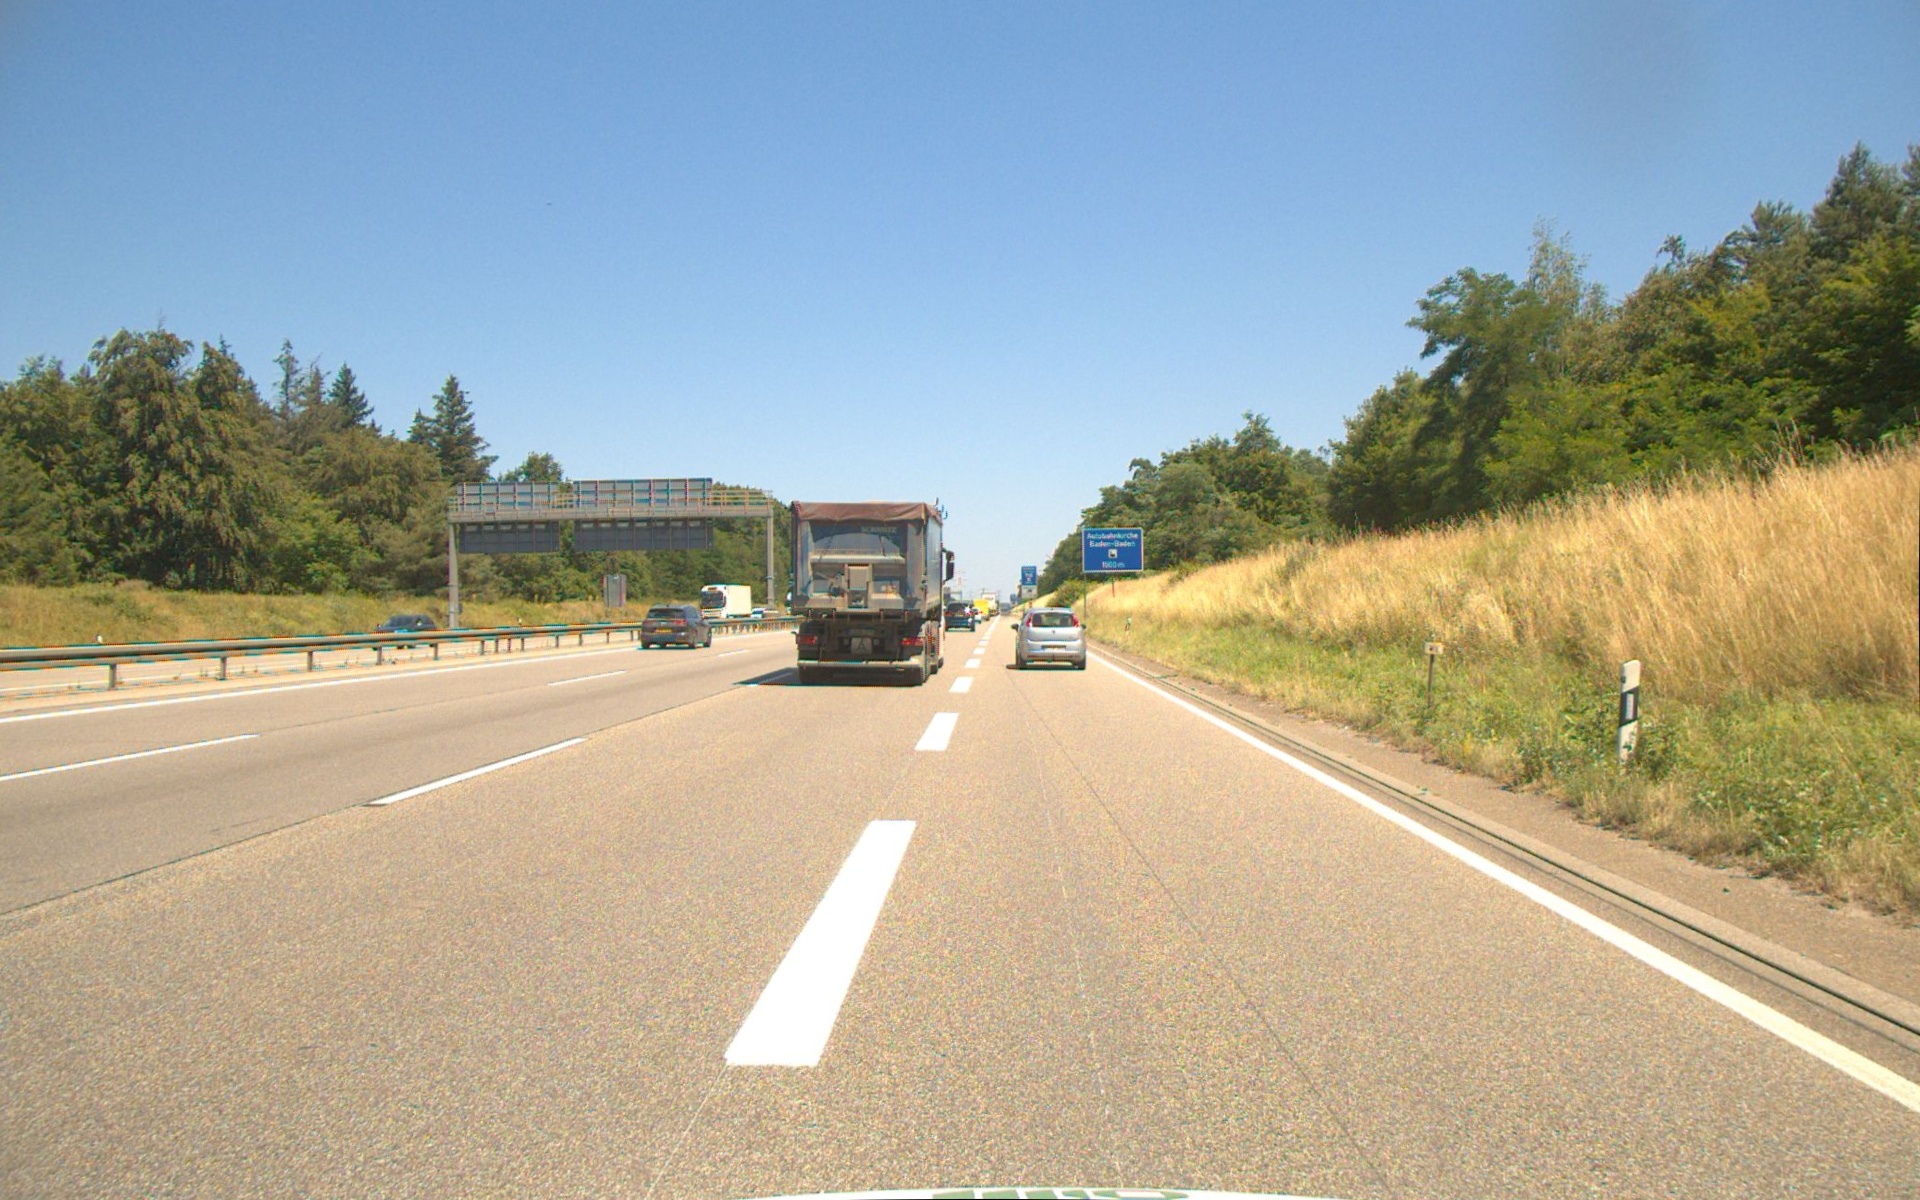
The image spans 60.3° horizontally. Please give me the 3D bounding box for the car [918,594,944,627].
[{"bbox_3d":[-2.674,0.989,155.528,2.213,3.002,6.113,1,0,0],"label":"car"}]

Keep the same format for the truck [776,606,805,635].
[{"bbox_3d":[-23.202,2.795,226.248,3.102,4.000,5.402,0,-1,3],"label":"truck"}]

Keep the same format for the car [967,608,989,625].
[{"bbox_3d":[1.649,1.494,149.478,1.783,1.518,3.738,0,-1,4],"label":"car"}]

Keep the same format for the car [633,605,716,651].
[{"bbox_3d":[-9.534,0.907,55.547,1.794,1.457,5.000,0,0,2],"label":"car"}]

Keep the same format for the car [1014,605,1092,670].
[{"bbox_3d":[2.268,0.896,41.130,1.684,1.518,3.736,1,0,-1],"label":"car"}]

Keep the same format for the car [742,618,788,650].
[{"bbox_3d":[-9.739,1.695,82.845,1.668,1.500,4.597,0,0,1],"label":"car"}]

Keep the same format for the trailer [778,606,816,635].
[{"bbox_3d":[-22.856,2.874,232.465,3.102,4.000,13.968,0,-1,3],"label":"trailer"}]

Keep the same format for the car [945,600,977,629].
[{"bbox_3d":[0.097,0.876,99.164,1.794,1.701,4.000,1,-1,1],"label":"car"}]

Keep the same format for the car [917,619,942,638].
[{"bbox_3d":[-2.476,2.313,134.326,1.855,1.495,4.262,1,0,1],"label":"car"}]

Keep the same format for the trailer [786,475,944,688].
[{"bbox_3d":[-1.752,-0.329,34.305,2.680,3.824,9.109,0,0,0],"label":"trailer"}]

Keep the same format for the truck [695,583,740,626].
[{"bbox_3d":[-23.720,0.479,161.859,3.147,4.088,6.217,0,-1,3],"label":"truck"}]

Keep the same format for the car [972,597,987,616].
[{"bbox_3d":[2.133,0.702,179.387,1.578,2.049,4.000,1,0,0],"label":"car"}]

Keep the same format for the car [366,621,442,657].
[{"bbox_3d":[-25.277,1.760,75.366,1.789,1.536,4.743,-1,-1,1],"label":"car"}]

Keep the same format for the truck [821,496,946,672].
[{"bbox_3d":[-1.696,-0.344,39.035,2.629,3.824,5.944,0,0,0],"label":"truck"}]
